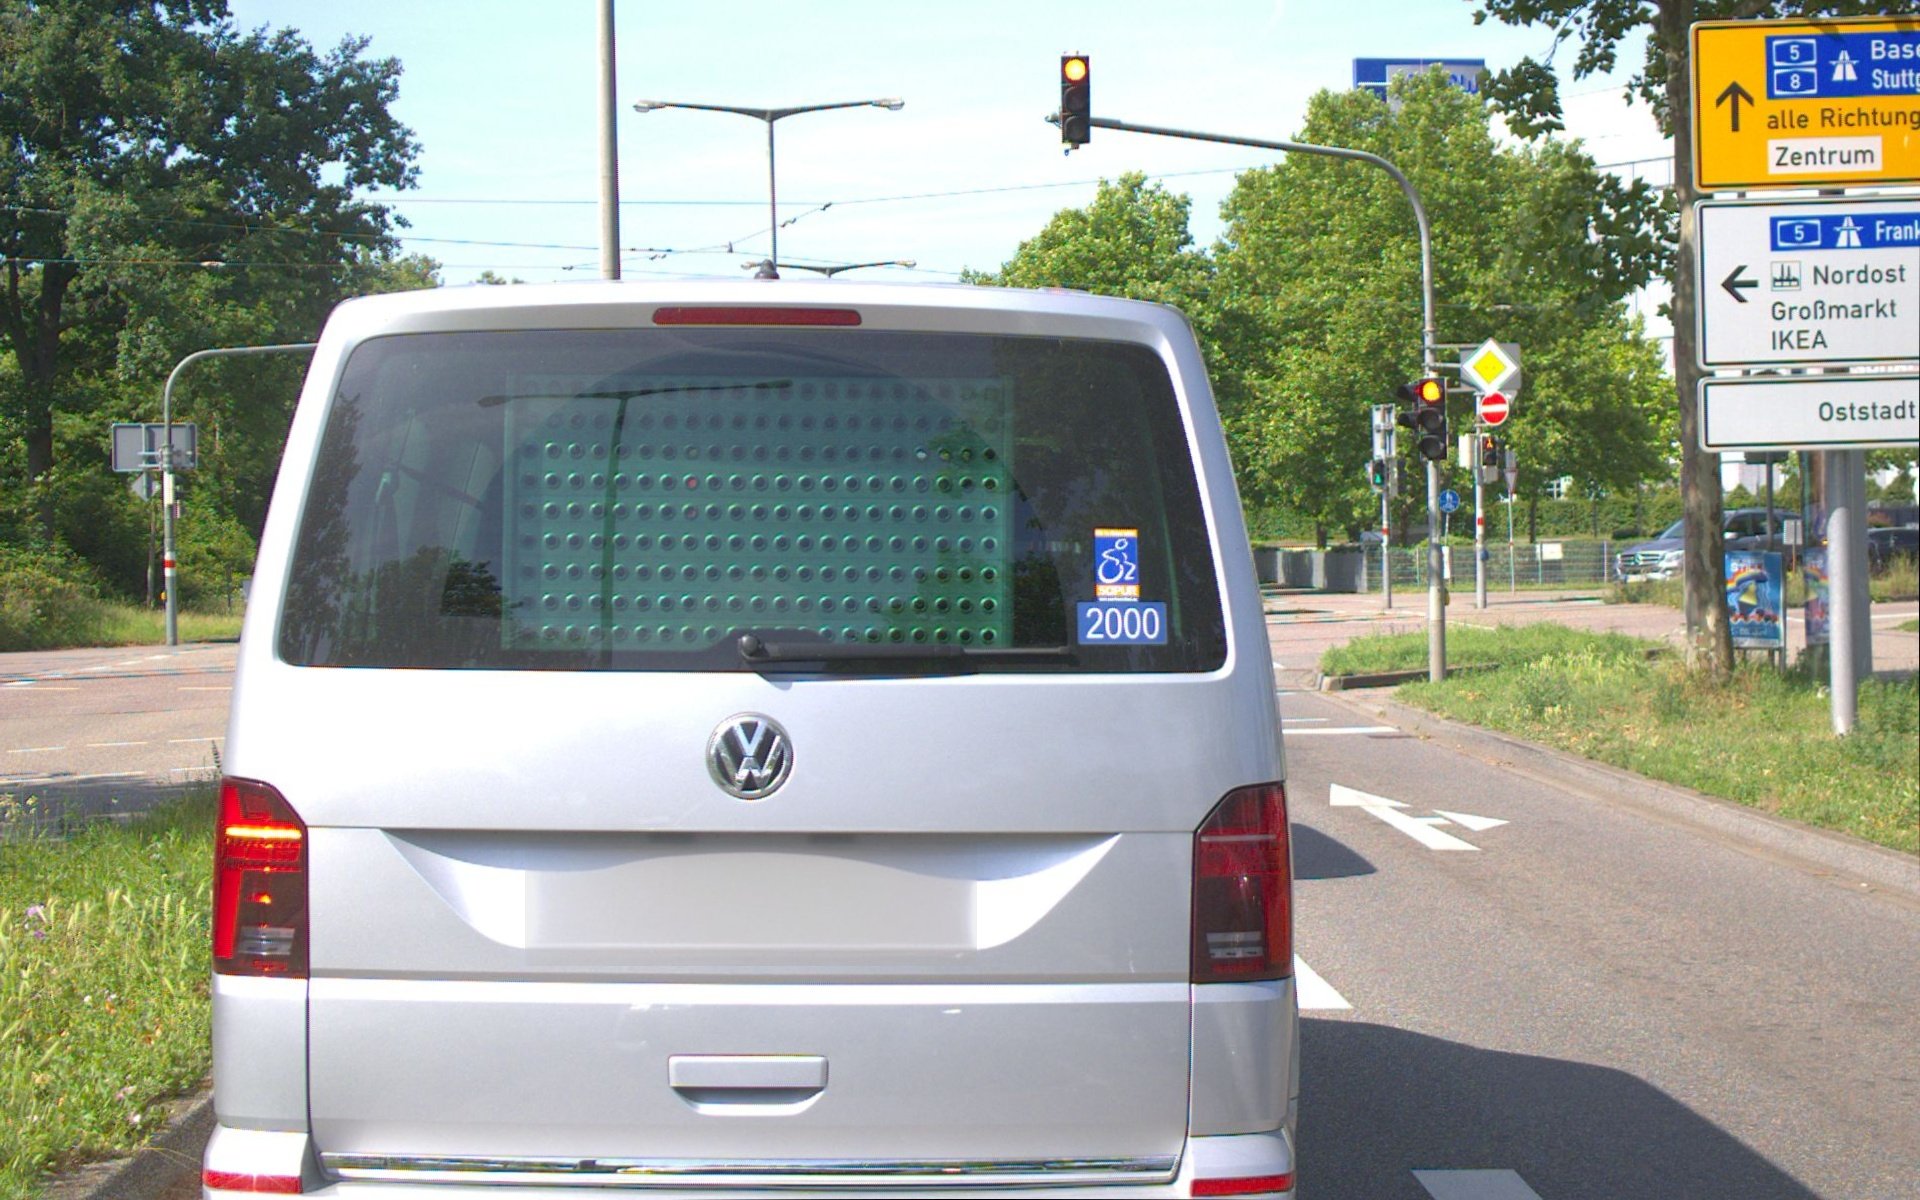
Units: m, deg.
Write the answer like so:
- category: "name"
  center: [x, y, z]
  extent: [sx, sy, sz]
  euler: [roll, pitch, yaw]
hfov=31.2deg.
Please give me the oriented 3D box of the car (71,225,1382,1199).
- category: "car"
  center: [-0.371, 0.392, 7.646]
  extent: [1.941, 1.965, 5.022]
  euler: [-1, 1, -1]

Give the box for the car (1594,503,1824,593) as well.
- category: "car"
  center: [15.000, -1.050, 68.777]
  extent: [4.613, 1.683, 1.915]
  euler: [-2, 1, -37]

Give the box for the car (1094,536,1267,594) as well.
- category: "car"
  center: [5.762, -0.922, 90.322]
  extent: [1.777, 1.439, 4.624]
  euler: [-2, 1, -41]

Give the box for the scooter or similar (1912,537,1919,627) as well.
- category: "scooter or similar"
  center: [12.130, -0.223, 42.398]
  extent: [0.424, 1.122, 1.124]
  euler: [-1, 1, -1]
